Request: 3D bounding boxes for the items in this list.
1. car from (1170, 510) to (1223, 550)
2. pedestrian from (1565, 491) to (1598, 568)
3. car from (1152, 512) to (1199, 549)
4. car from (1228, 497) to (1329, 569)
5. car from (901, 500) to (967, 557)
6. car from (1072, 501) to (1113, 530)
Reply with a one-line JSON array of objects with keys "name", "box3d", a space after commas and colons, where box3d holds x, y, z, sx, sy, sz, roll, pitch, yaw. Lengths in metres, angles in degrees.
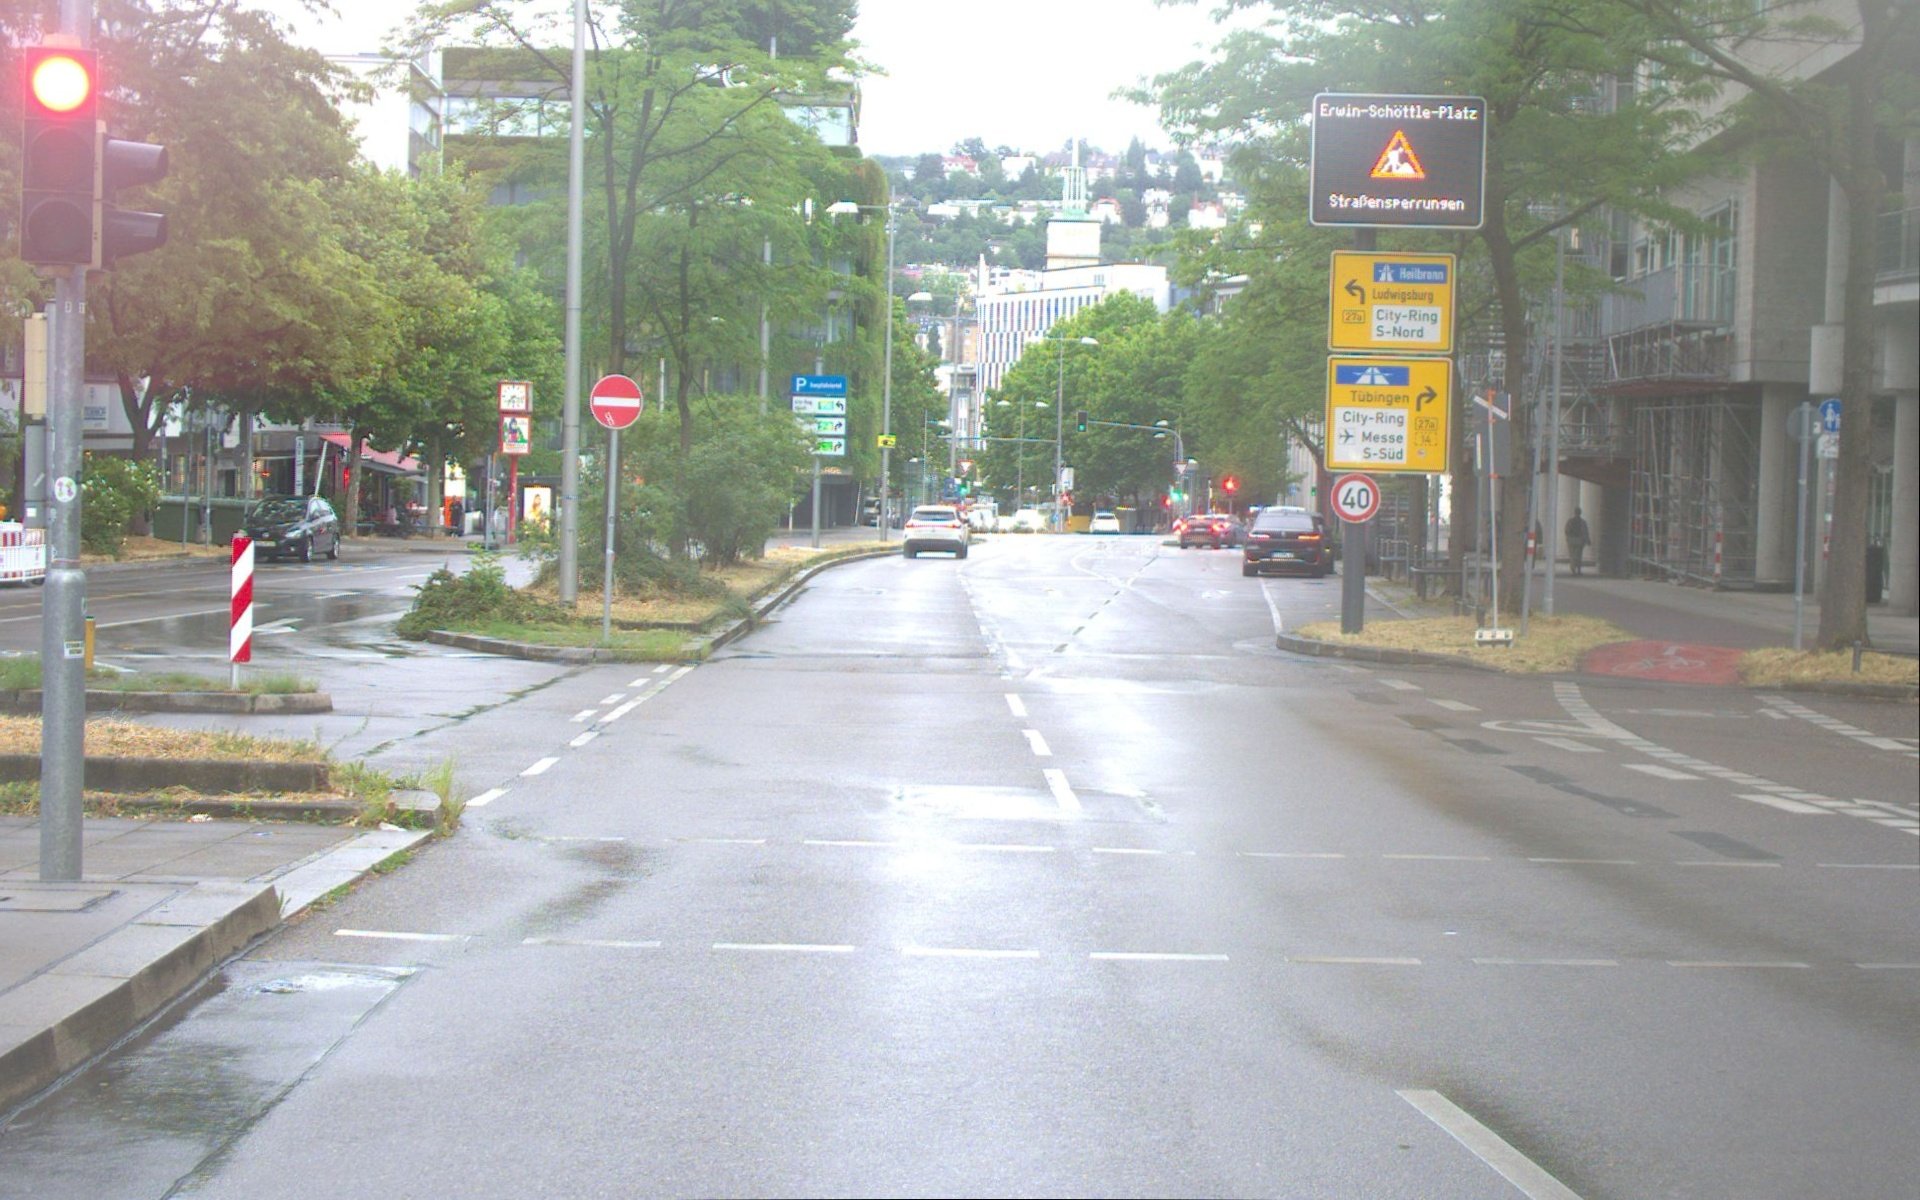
[{"name": "car", "box3d": [10.702, -3.157, 155.713, 1.993, 1.718, 4.000, 1, 0, -1]}, {"name": "pedestrian", "box3d": [15.594, -1.764, 86.210, 0.775, 1.914, 0.702, 1, 0, 10]}, {"name": "car", "box3d": [10.444, -3.379, 166.793, 1.993, 1.730, 4.000, 1, 0, -1]}, {"name": "car", "box3d": [7.755, -1.637, 83.416, 2.339, 1.685, 3.999, 1, 2, 6]}, {"name": "car", "box3d": [-0.812, -2.204, 106.150, 1.828, 1.634, 4.301, 2, 1, -2]}, {"name": "car", "box3d": [8.555, -5.449, 221.816, 1.993, 1.752, 4.001, 2, 1, -6]}]
